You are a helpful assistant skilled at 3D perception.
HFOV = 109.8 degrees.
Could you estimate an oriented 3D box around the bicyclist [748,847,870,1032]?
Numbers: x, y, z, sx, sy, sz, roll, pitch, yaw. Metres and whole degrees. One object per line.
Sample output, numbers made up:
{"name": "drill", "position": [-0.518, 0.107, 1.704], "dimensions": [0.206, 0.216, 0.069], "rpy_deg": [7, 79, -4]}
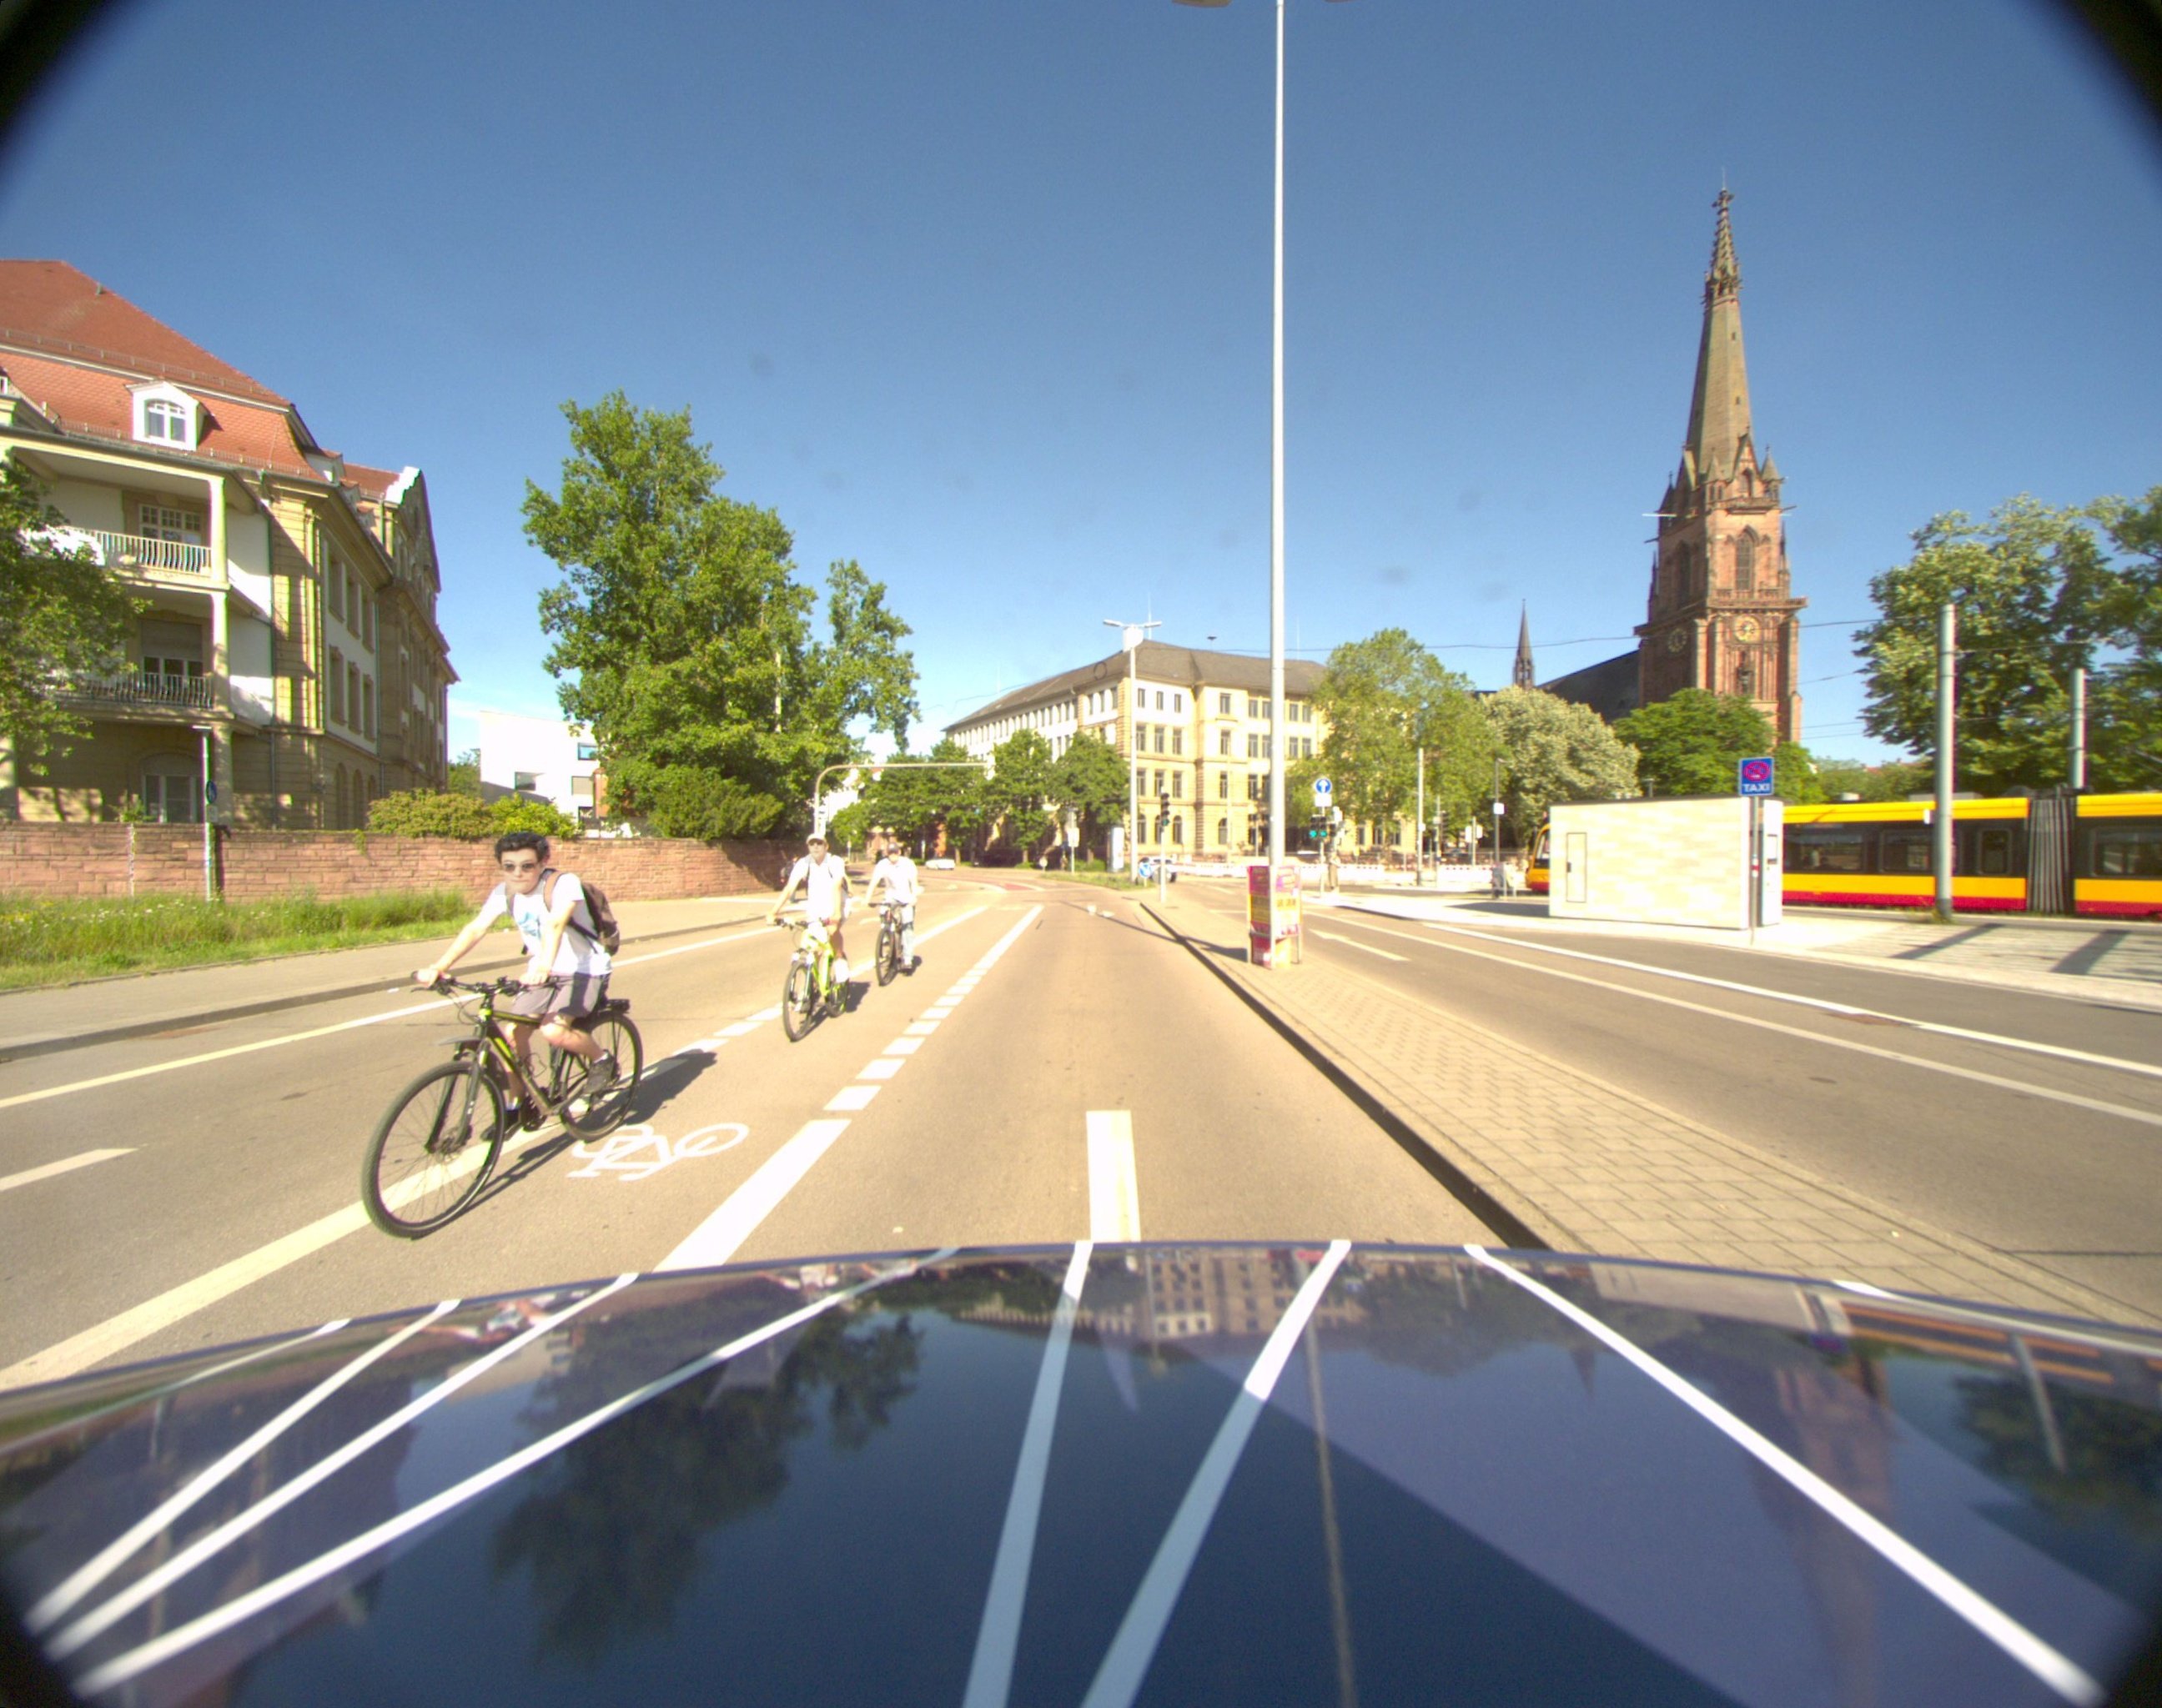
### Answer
{"name": "bicyclist", "position": [-2.503, 0.739, 7.114], "dimensions": [0.676, 1.574, 1.081], "rpy_deg": [-2, 1, 0]}

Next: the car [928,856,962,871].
{"name": "car", "position": [-14.107, 0.954, 78.573], "dimensions": [1.853, 1.477, 4.154], "rpy_deg": [-1, 1, -35]}

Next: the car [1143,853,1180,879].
{"name": "car", "position": [5.004, 0.707, 47.565], "dimensions": [1.846, 1.543, 4.335], "rpy_deg": [1, 0, 0]}

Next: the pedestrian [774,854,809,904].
{"name": "pedestrian", "position": [-10.811, 0.920, 28.412], "dimensions": [0.729, 1.839, 0.963], "rpy_deg": [2, 1, 30]}

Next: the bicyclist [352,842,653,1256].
{"name": "bicyclist", "position": [-2.762, 0.840, 3.755], "dimensions": [0.678, 1.775, 0.939], "rpy_deg": [-2, 1, -1]}

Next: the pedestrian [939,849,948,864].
{"name": "pedestrian", "position": [-16.921, 0.316, 93.648], "dimensions": [0.759, 1.802, 0.977], "rpy_deg": [-1, 1, -40]}

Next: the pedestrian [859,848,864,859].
{"name": "pedestrian", "position": [-35.562, -0.090, 123.101], "dimensions": [0.758, 1.801, 0.979], "rpy_deg": [-2, -3, -18]}

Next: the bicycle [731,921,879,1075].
{"name": "bicycle", "position": [-2.482, 1.250, 7.080], "dimensions": [0.673, 1.044, 1.844], "rpy_deg": [-2, 1, 0]}

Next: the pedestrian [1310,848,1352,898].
{"name": "pedestrian", "position": [9.334, 0.685, 28.423], "dimensions": [1.230, 1.845, 0.827], "rpy_deg": [0, 1, -11]}

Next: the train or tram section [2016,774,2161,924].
{"name": "train or tram section", "position": [29.143, -0.111, 15.625], "dimensions": [2.806, 3.580, 12.294], "rpy_deg": [-1, 1, -35]}

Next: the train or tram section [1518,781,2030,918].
{"name": "train or tram section", "position": [22.077, -0.149, 25.819], "dimensions": [2.806, 3.580, 12.504], "rpy_deg": [-1, 1, -35]}

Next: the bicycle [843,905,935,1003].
{"name": "bicycle", "position": [-2.487, 1.264, 10.074], "dimensions": [0.749, 1.044, 1.903], "rpy_deg": [0, 1, -1]}

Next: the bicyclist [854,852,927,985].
{"name": "bicyclist", "position": [-2.487, 0.813, 10.012], "dimensions": [0.742, 1.664, 0.865], "rpy_deg": [0, 1, -1]}

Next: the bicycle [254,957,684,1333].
{"name": "bicycle", "position": [-2.739, 1.203, 3.728], "dimensions": [0.616, 1.131, 1.826], "rpy_deg": [-1, 1, -1]}
